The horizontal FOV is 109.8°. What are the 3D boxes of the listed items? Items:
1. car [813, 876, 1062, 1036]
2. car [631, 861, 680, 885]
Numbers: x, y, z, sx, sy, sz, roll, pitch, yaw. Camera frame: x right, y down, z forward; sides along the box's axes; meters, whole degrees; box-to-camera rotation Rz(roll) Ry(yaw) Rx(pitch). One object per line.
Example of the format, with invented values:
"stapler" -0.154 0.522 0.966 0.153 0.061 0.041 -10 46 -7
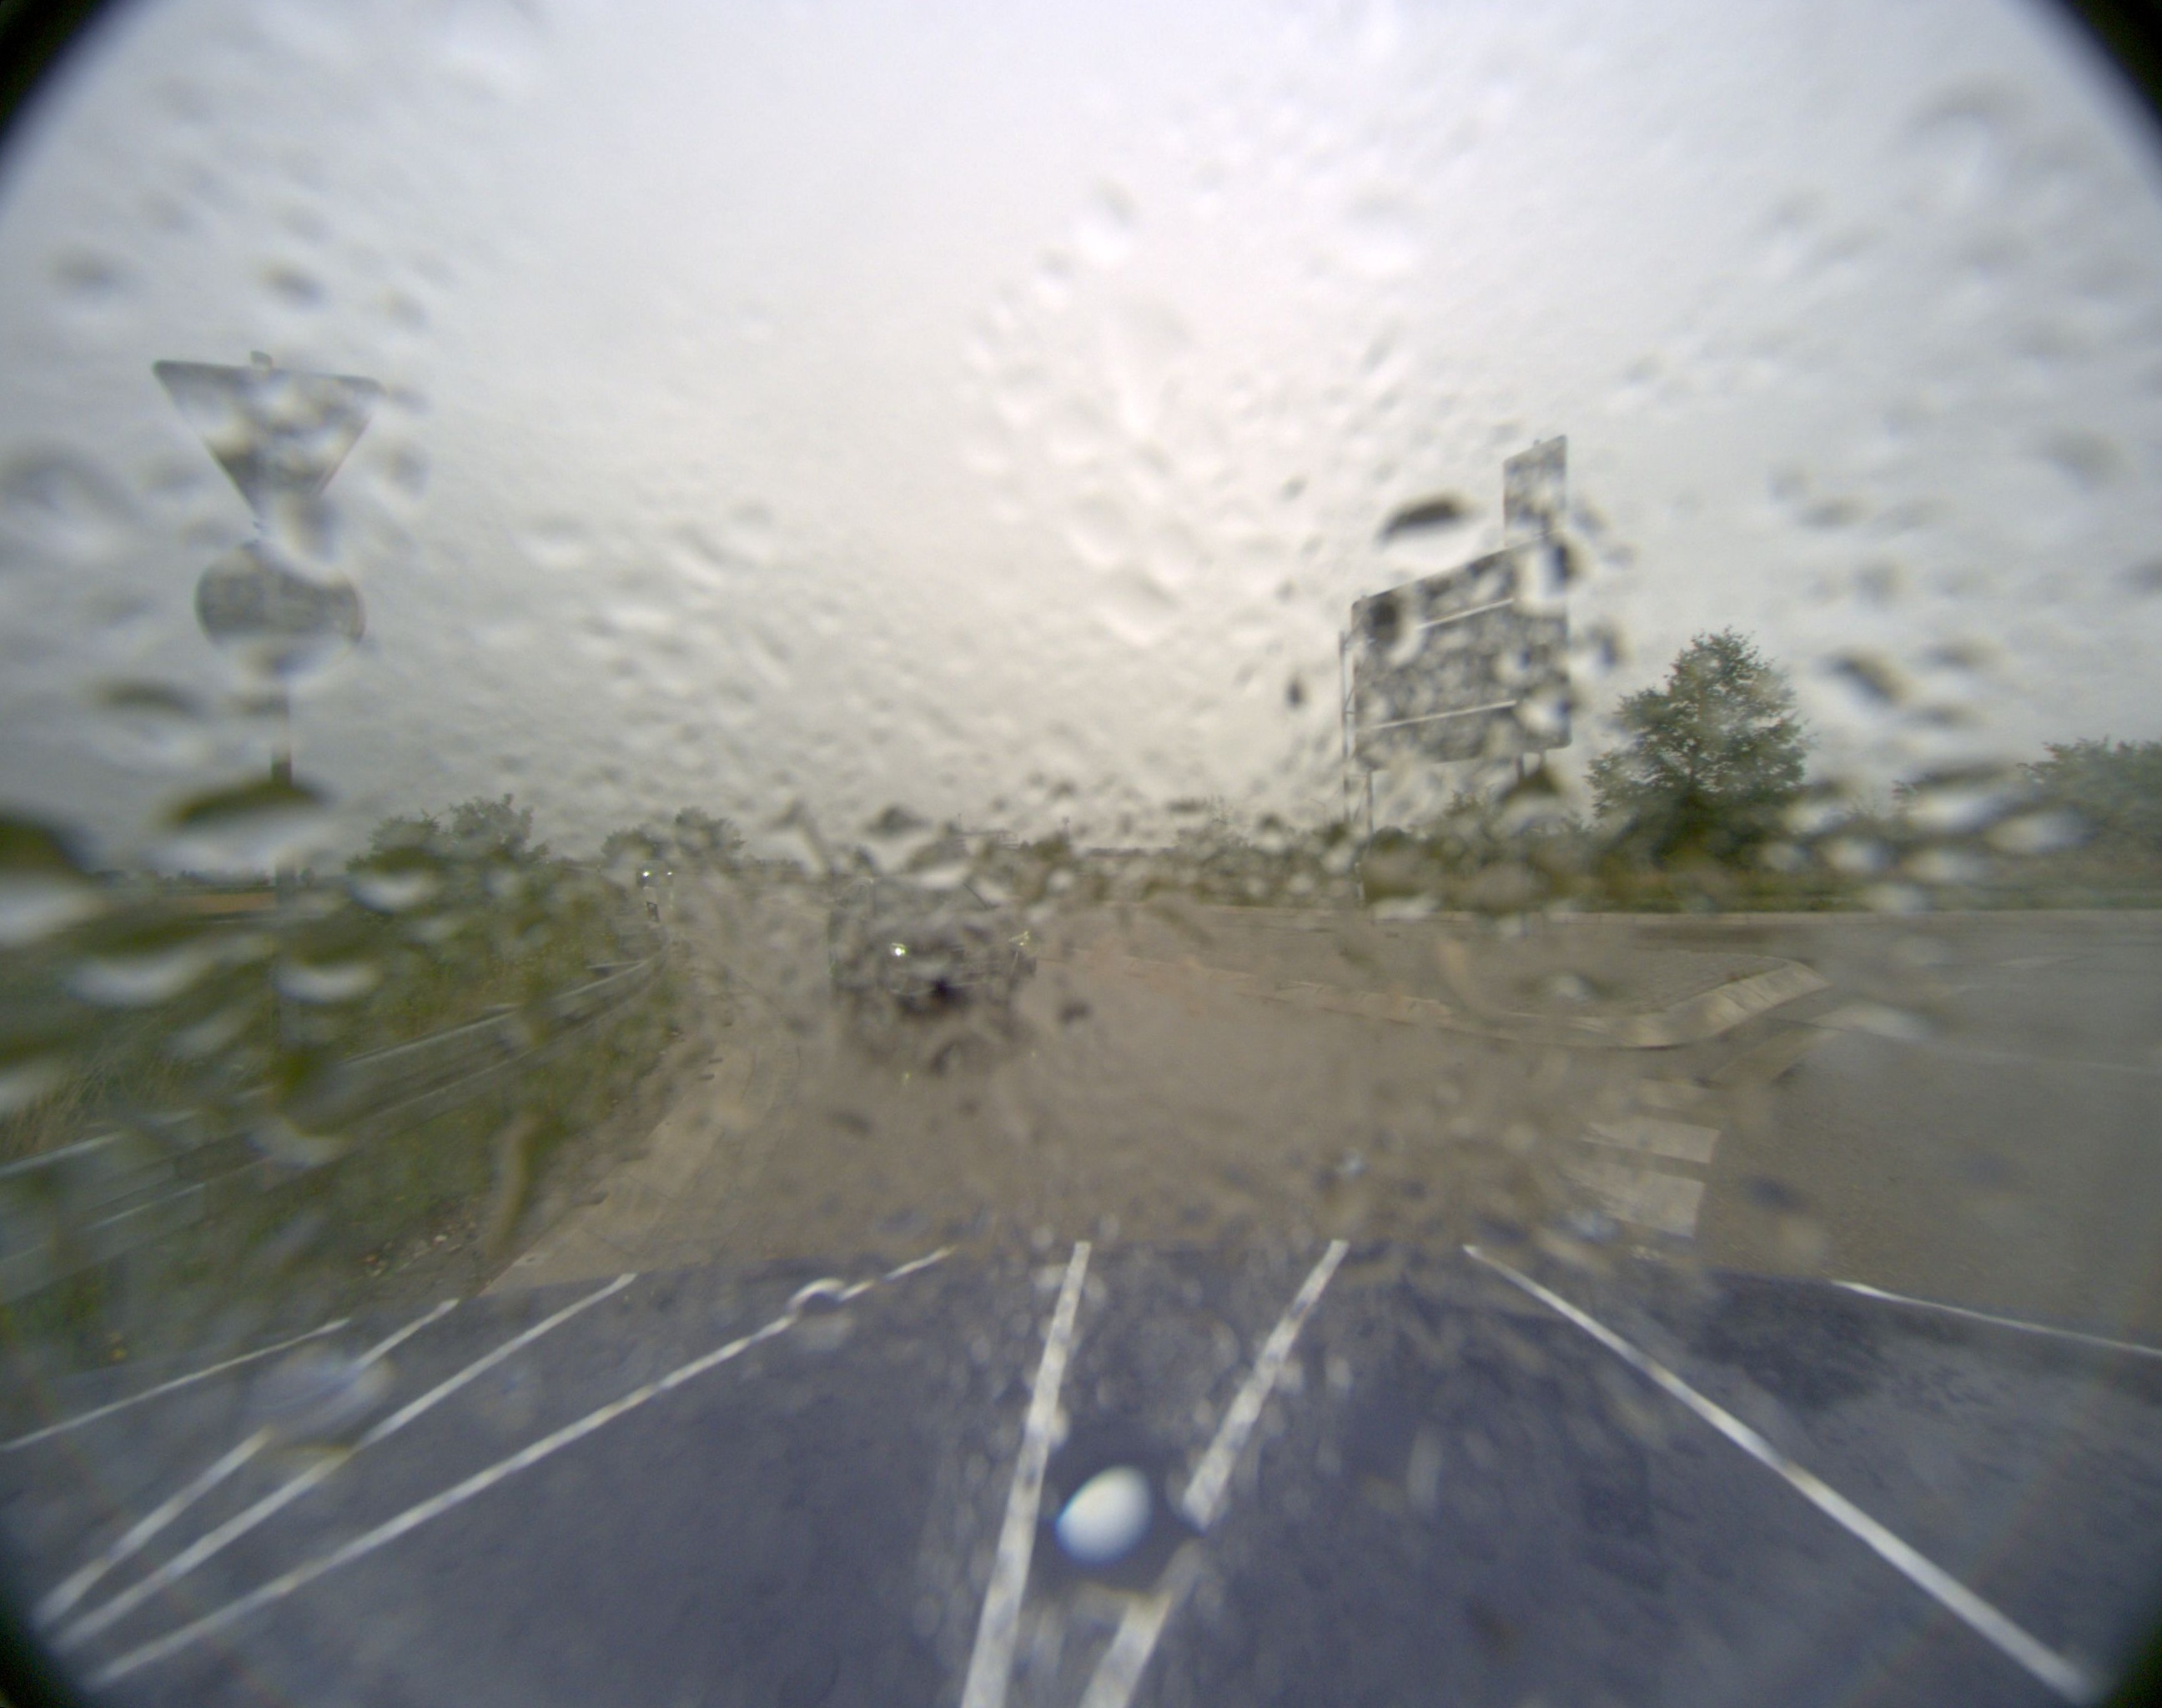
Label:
"car" -2.130 1.068 9.905 1.913 1.361 4.555 -5 1 -27
"car" -26.801 1.151 47.799 1.914 1.361 4.552 -2 2 -39
